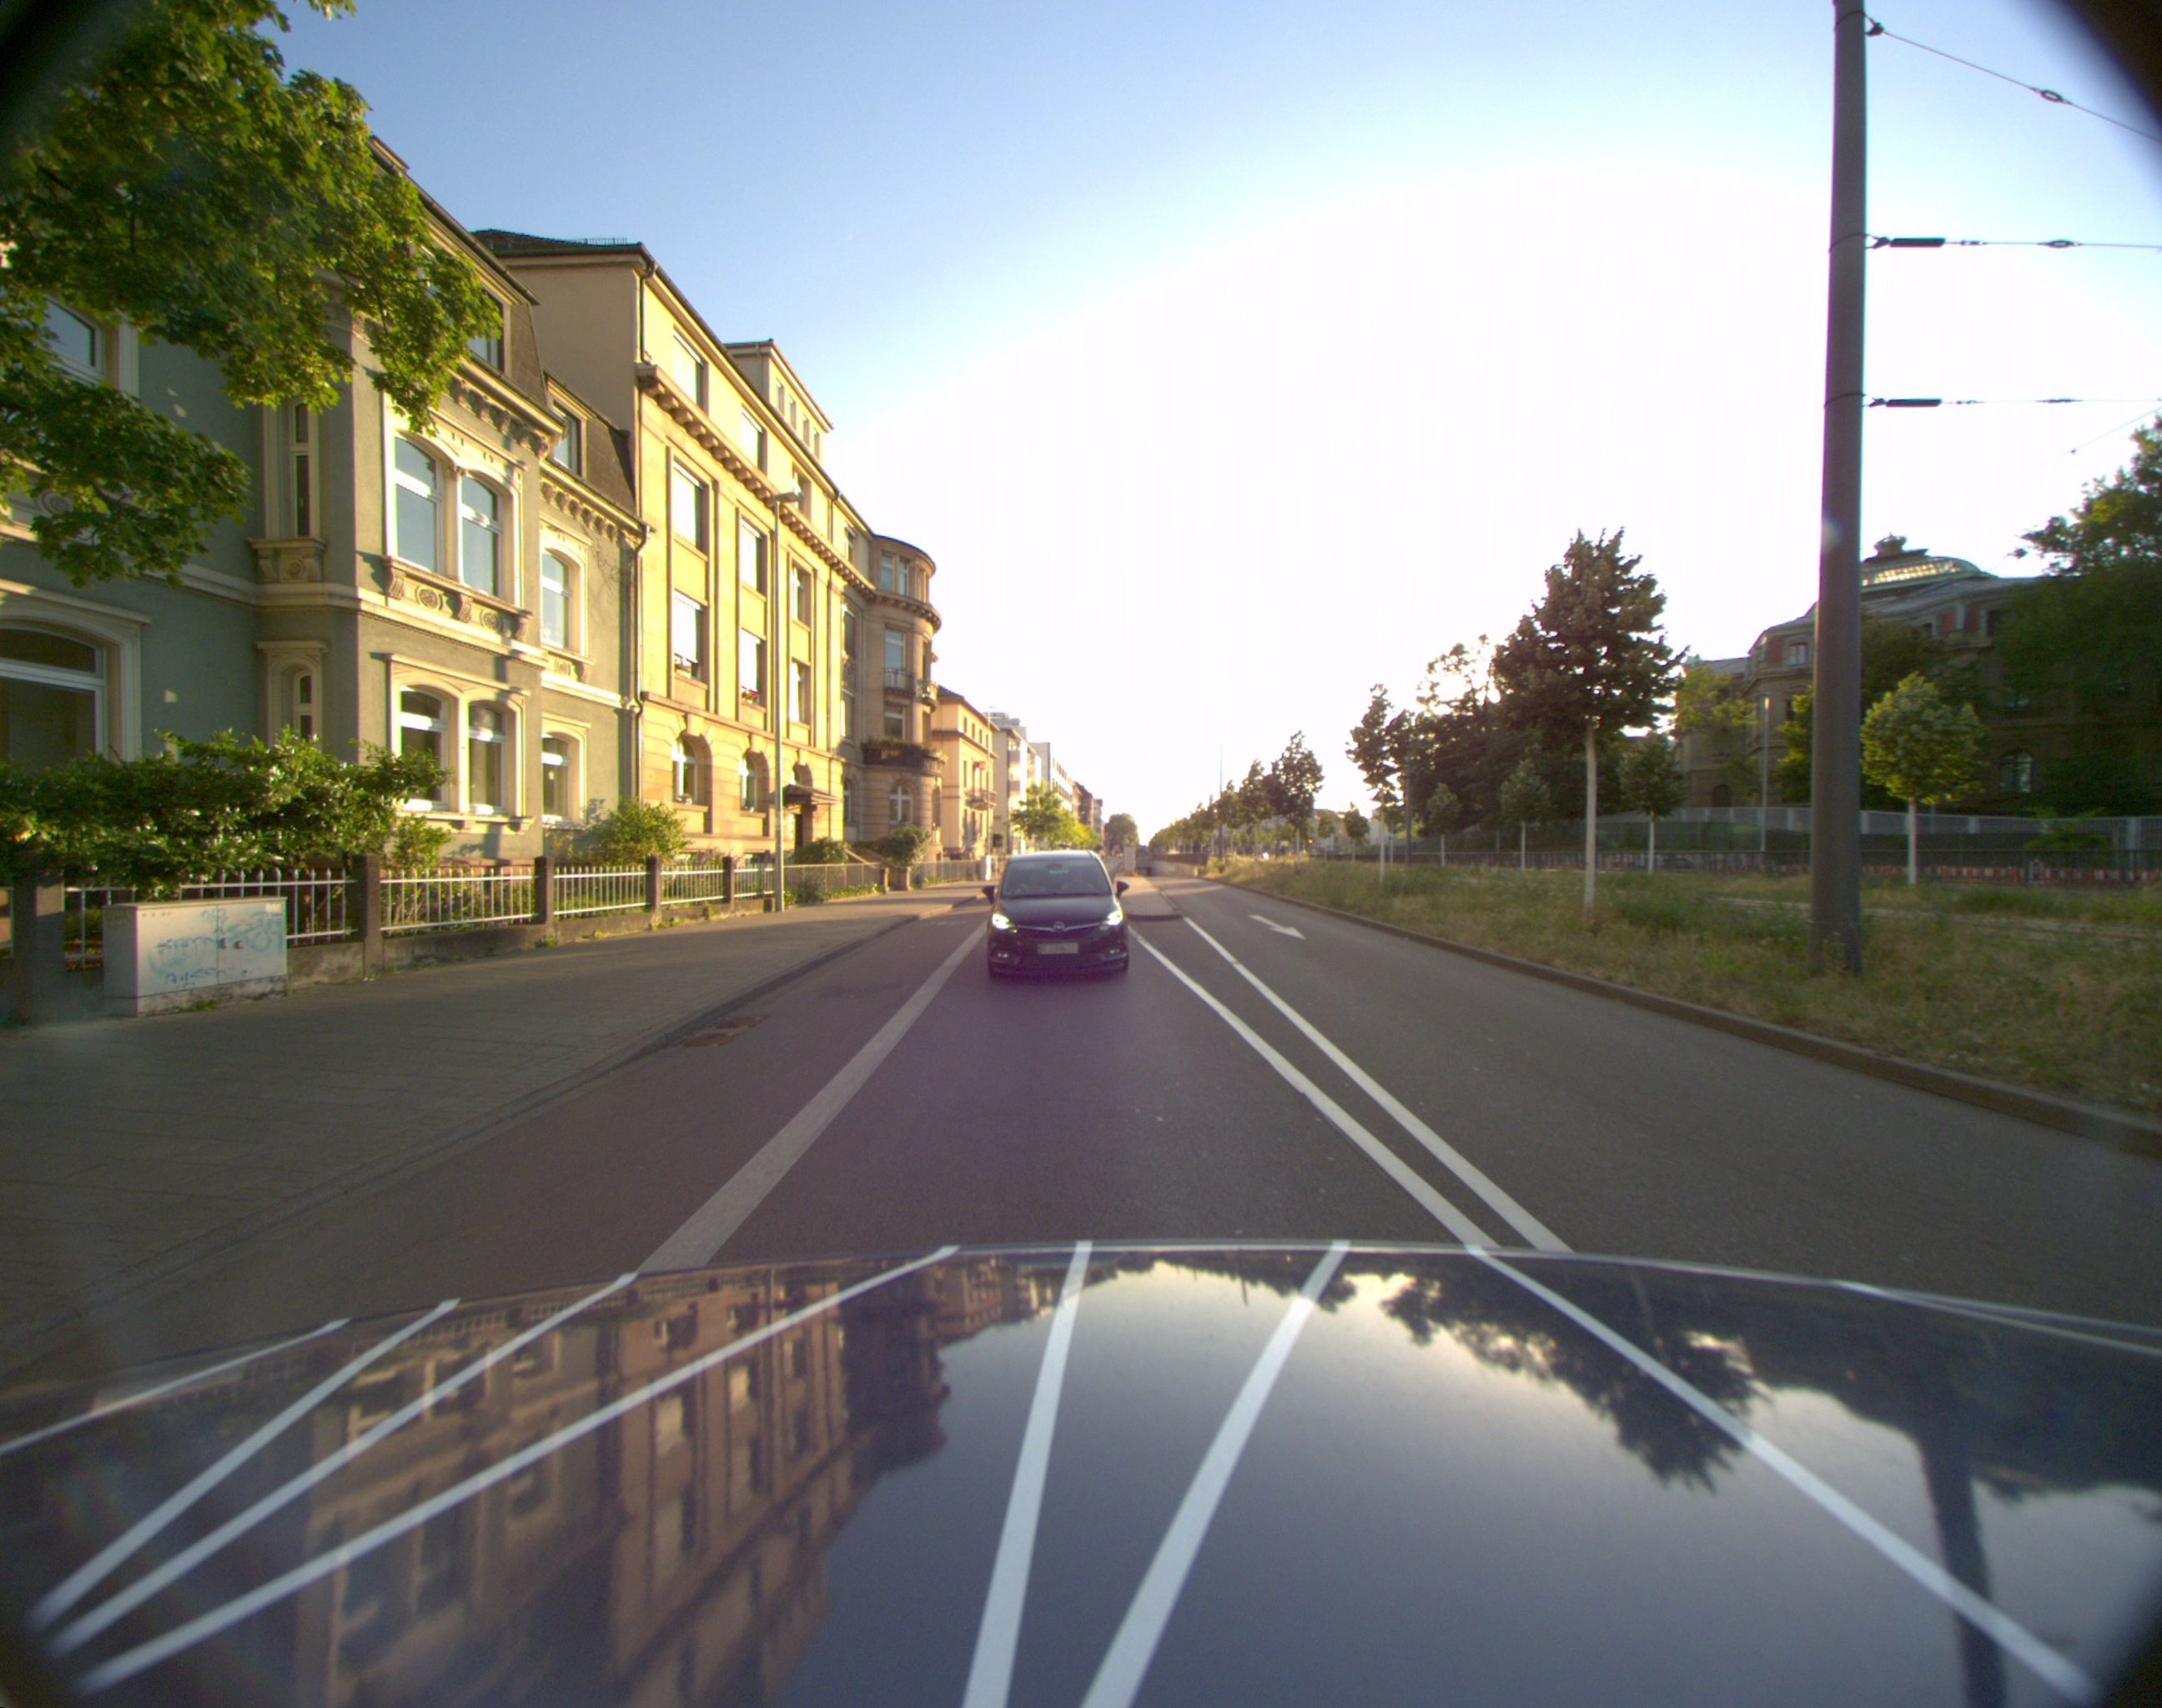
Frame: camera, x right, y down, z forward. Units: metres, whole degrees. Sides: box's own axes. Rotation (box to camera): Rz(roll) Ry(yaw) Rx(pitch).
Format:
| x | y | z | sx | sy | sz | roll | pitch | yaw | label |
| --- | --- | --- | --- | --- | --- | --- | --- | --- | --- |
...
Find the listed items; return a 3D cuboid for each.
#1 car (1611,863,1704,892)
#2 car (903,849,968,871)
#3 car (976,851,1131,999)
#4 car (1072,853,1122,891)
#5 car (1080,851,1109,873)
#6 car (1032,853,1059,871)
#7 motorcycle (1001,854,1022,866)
| x | y | z | sx | sy | sz | roll | pitch | yaw | label |
| --- | --- | --- | --- | --- | --- | --- | --- | --- | --- |
| 32.390 | 1.297 | 42.866 | 1.936 | 1.472 | 4.524 | -2 | -1 | 3 | car |
| -10.166 | 0.392 | 53.382 | 4.096 | 1.472 | 1.939 | -1 | 0 | 4 | car |
| -0.390 | 0.815 | 11.238 | 1.771 | 1.649 | 4.851 | -1 | 1 | -2 | car |
| 0.643 | 0.732 | 31.449 | 1.859 | 1.425 | 4.843 | -2 | -1 | 1 | car |
| 1.000 | 0.556 | 52.978 | 1.859 | 1.425 | 4.844 | -2 | -1 | 2 | car |
| -2.865 | 0.595 | 62.261 | 1.882 | 1.394 | 4.101 | -1 | 0 | 2 | car |
| -6.360 | 0.544 | 69.654 | 1.848 | 1.090 | 0.576 | -1 | 1 | 9 | motorcycle |
